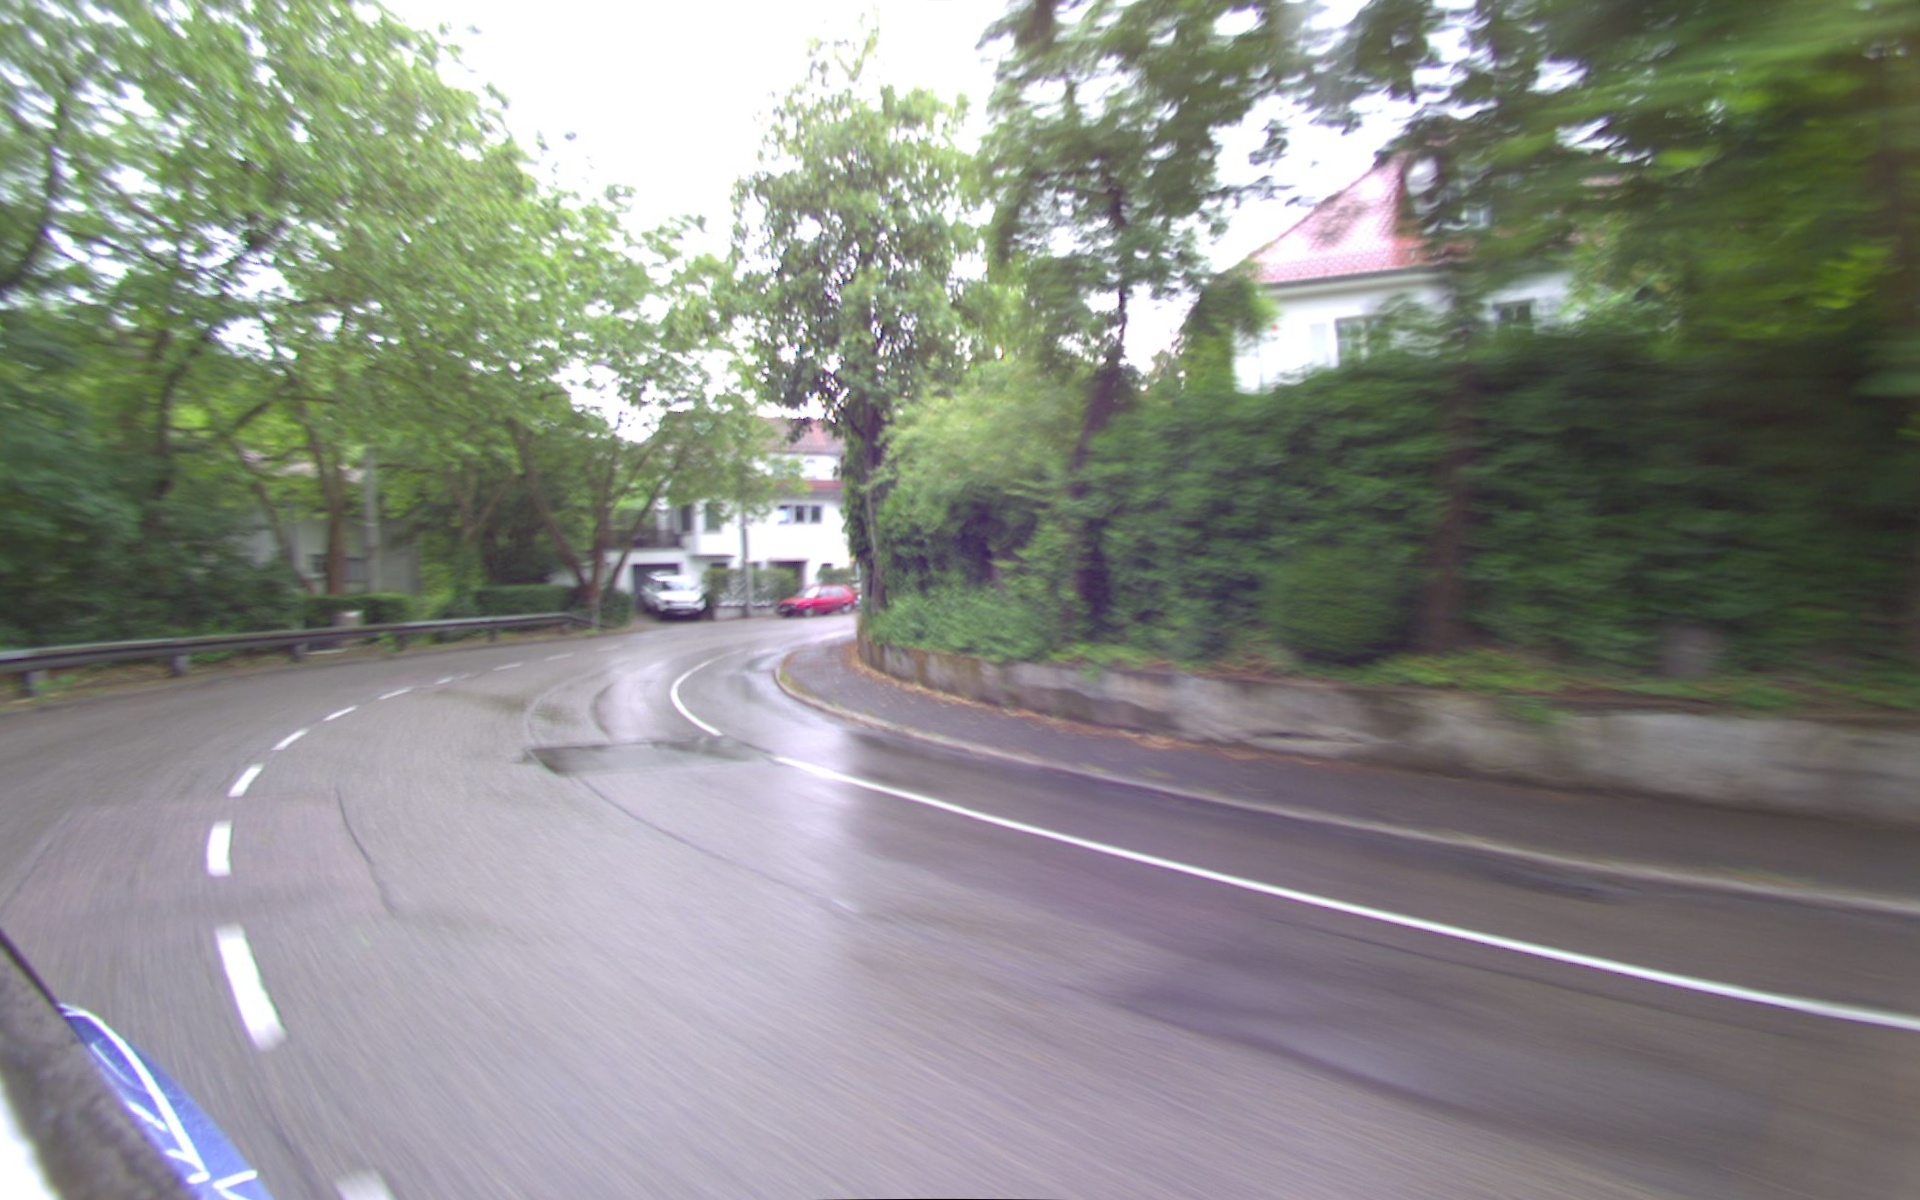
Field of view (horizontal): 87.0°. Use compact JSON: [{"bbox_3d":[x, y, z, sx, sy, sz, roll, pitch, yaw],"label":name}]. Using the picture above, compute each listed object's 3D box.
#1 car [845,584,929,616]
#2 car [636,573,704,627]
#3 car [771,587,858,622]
[{"bbox_3d":[-3.642,-0.038,50.725,3.937,1.430,1.637,-3,2,-40],"label":"car"},{"bbox_3d":[-13.407,-0.055,46.641,1.925,1.938,4.282,-2,8,-31],"label":"car"},{"bbox_3d":[-6.747,0.172,47.294,1.633,1.430,3.947,0,2,40],"label":"car"}]
